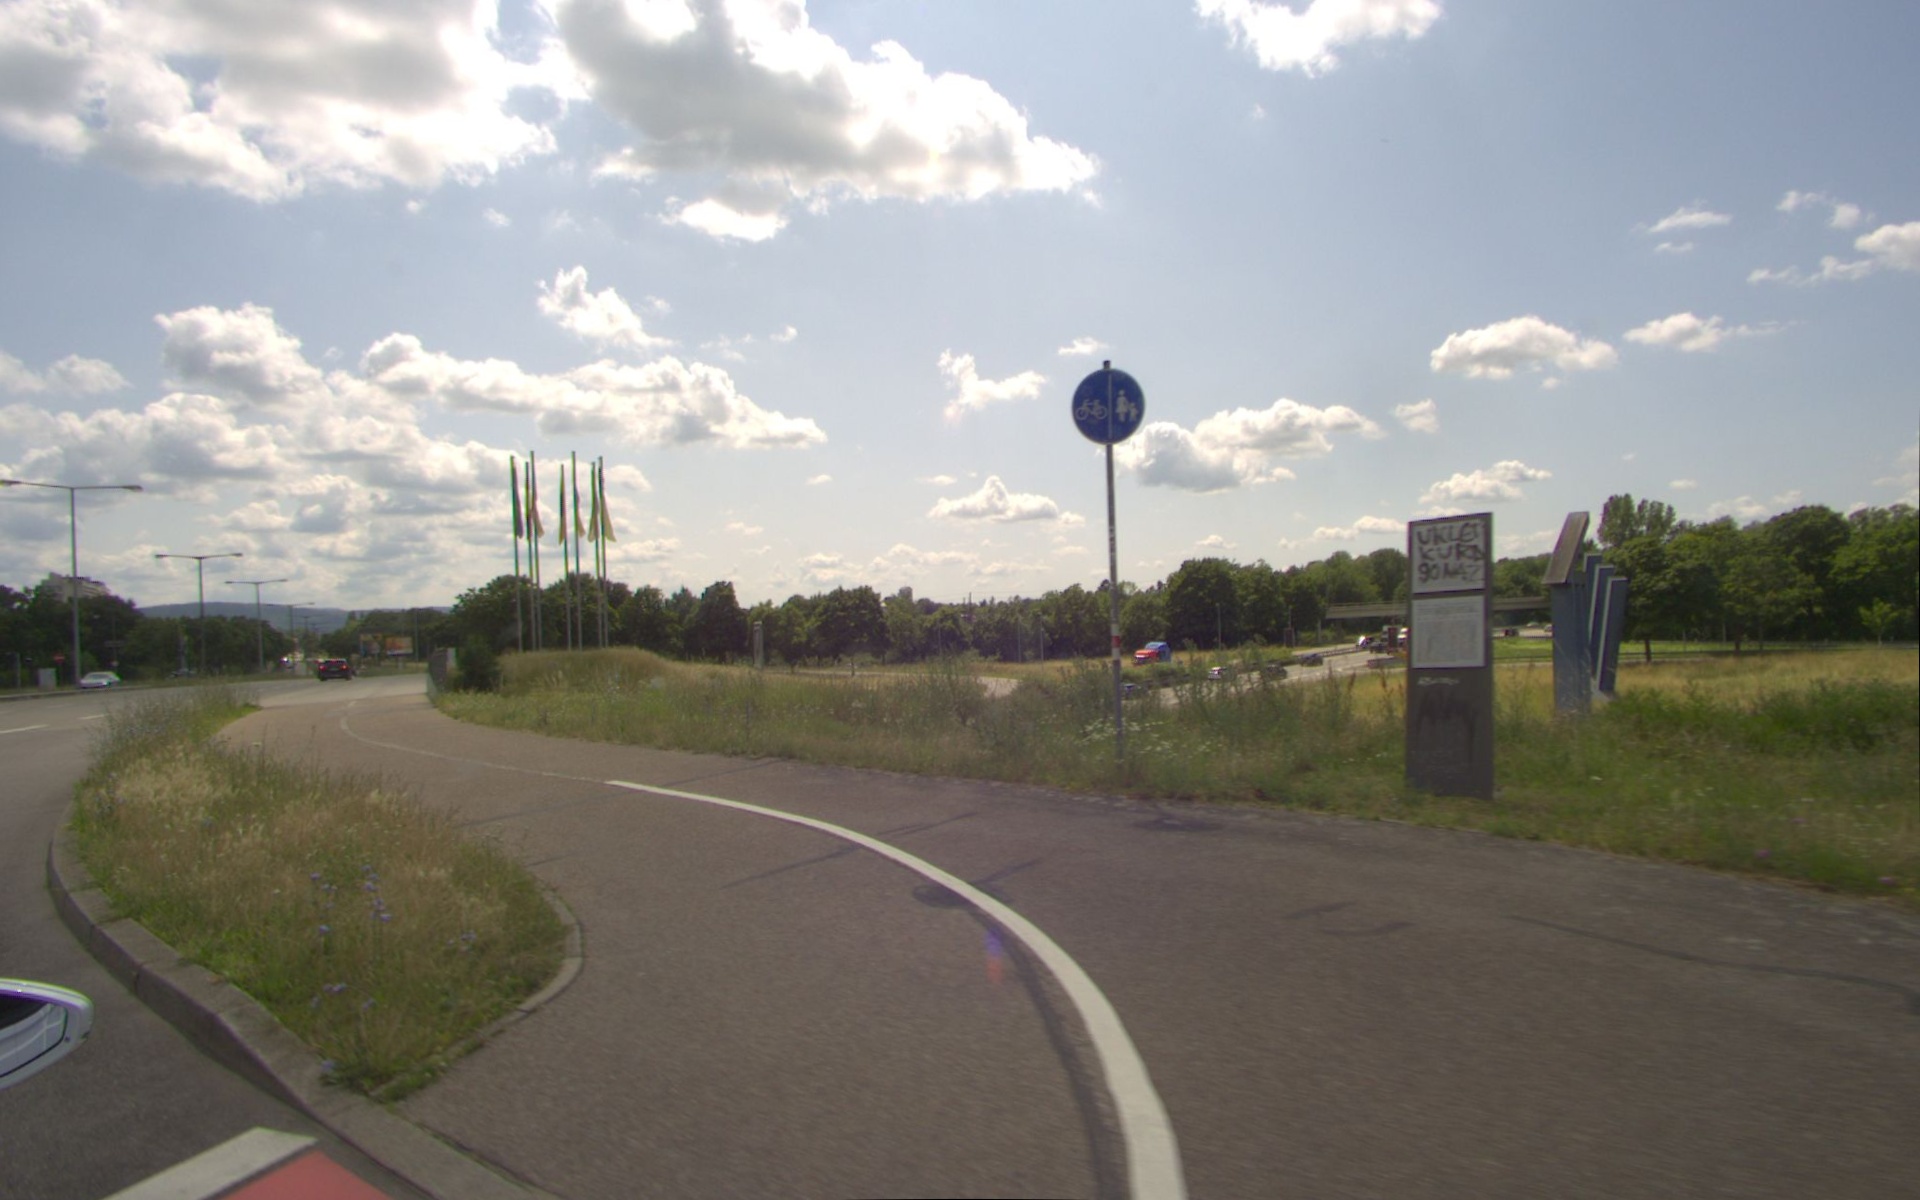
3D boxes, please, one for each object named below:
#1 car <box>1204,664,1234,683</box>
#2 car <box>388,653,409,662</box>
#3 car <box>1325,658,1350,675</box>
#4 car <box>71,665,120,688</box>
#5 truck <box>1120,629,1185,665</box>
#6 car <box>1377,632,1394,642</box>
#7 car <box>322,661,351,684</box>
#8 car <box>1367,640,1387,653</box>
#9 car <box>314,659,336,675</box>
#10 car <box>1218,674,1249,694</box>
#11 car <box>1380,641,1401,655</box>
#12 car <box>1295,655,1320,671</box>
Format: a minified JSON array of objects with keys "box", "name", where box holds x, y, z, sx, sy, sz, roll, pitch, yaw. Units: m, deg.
[{"box":[29.739,8.385,114.894,1.975,2.039,3.973,-2,-2,37],"name":"car"},{"box":[-102.327,10.511,182.569,3.952,1.683,1.986,-2,-2,39],"name":"car"},{"box":[48.376,8.464,128.347,1.975,2.039,3.973,-2,-2,37],"name":"car"},{"box":[-63.762,5.612,73.914,1.643,1.431,4.532,-4,0,-27],"name":"car"},{"box":[24.857,6.015,128.995,3.971,4.459,9.558,-2,-2,40],"name":"truck"},{"box":[81.707,7.108,192.269,1.975,2.039,3.973,-2,-2,37],"name":"car"},{"box":[-50.616,5.874,81.305,1.973,1.683,3.978,0,-2,-32],"name":"car"},{"box":[64.774,7.204,155.585,1.975,2.039,3.973,-2,-2,37],"name":"car"},{"box":[-70.540,7.449,111.246,1.973,1.683,3.978,0,-2,-32],"name":"car"},{"box":[30.701,9.375,112.431,1.975,2.039,3.973,-2,-2,37],"name":"car"},{"box":[65.109,7.207,151.487,1.975,2.039,3.973,-2,-2,37],"name":"car"},{"box":[46.823,8.476,134.827,1.975,2.039,3.973,-2,-2,37],"name":"car"}]
